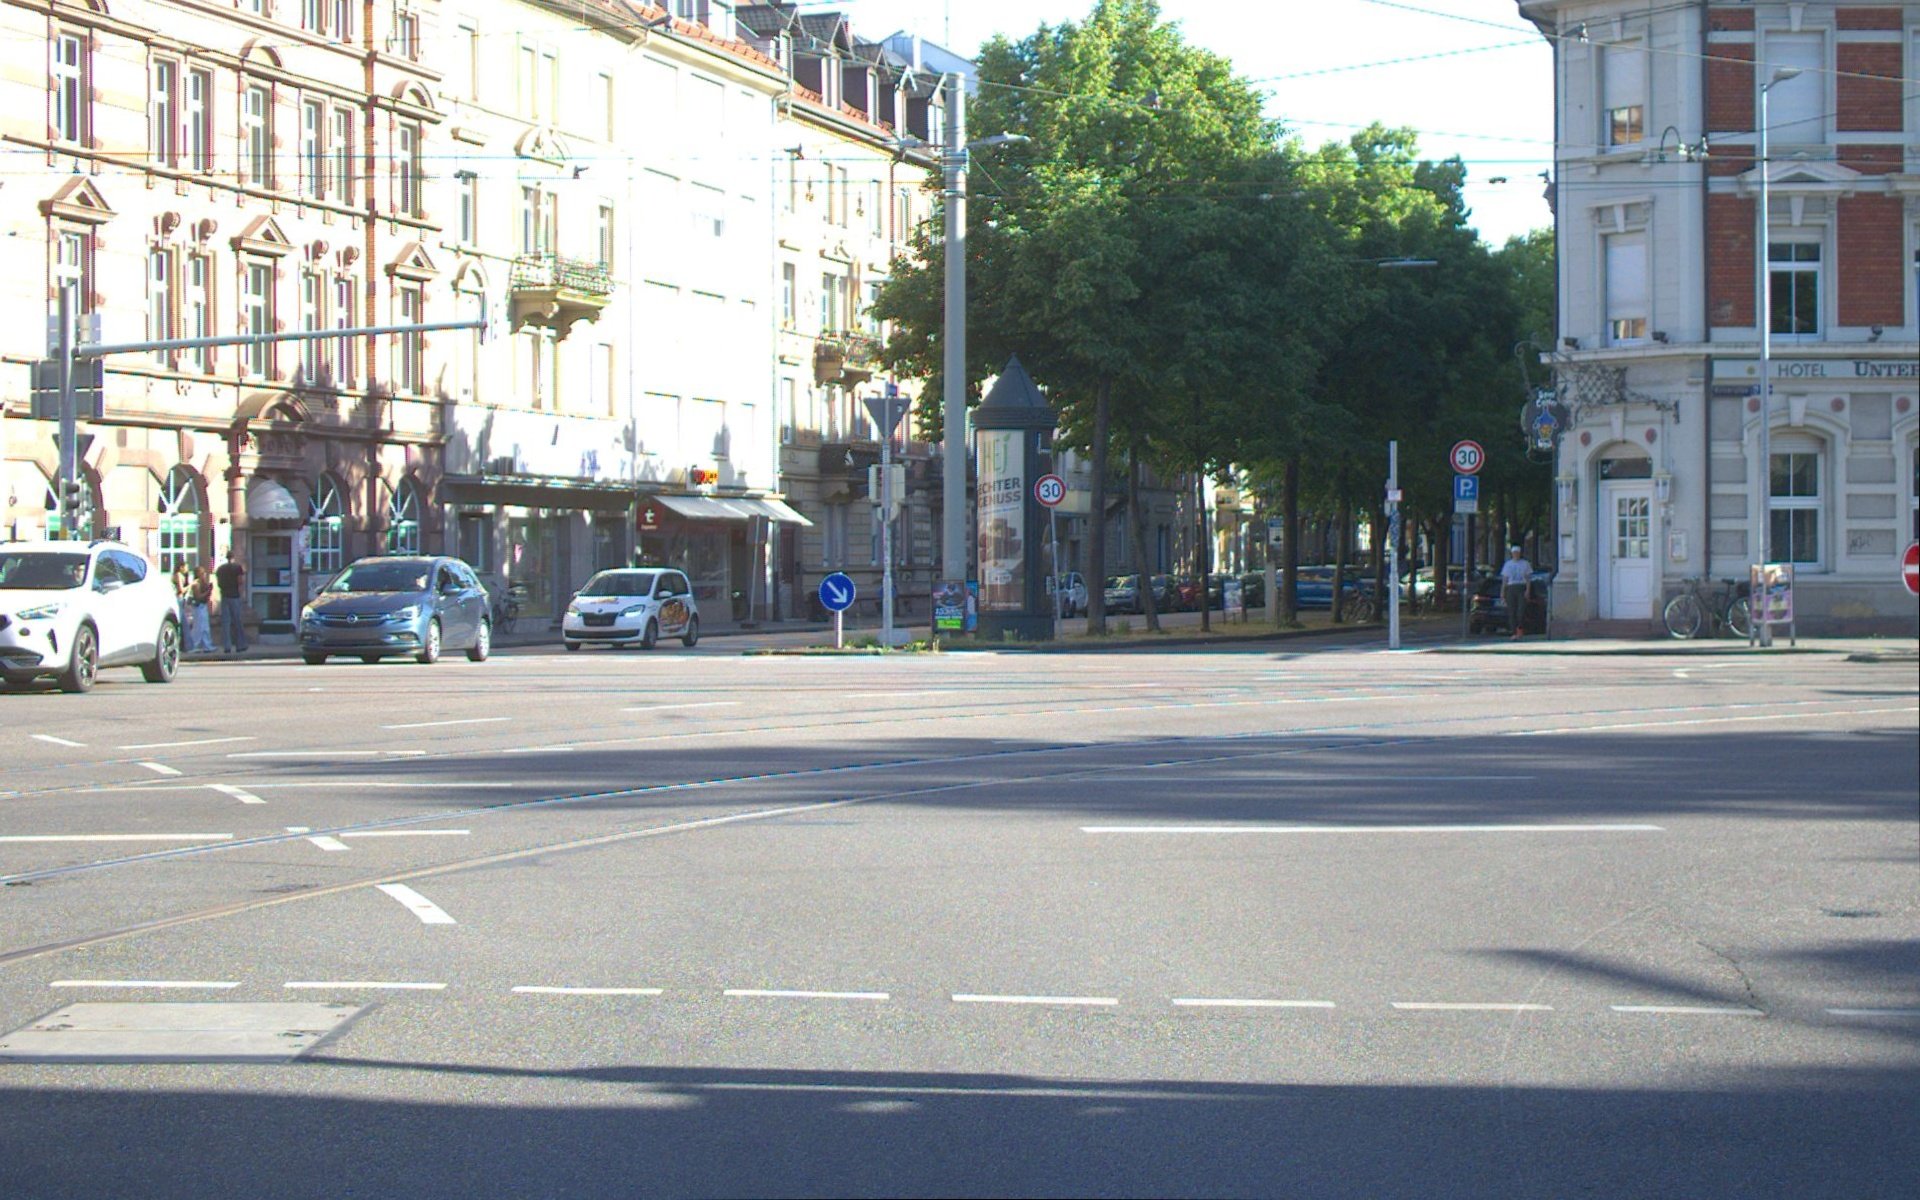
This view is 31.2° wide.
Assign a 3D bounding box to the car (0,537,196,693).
[{"bbox_3d":[-9.397,0.106,35.058,1.994,1.492,4.347,0,1,4],"label":"car"}]

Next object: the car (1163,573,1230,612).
[{"bbox_3d":[9.410,-0.322,136.548,1.995,1.492,4.031,0,1,14],"label":"car"}]

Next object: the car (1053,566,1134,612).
[{"bbox_3d":[4.583,-0.380,117.375,1.995,1.492,4.031,0,1,14],"label":"car"}]

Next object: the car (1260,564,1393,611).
[{"bbox_3d":[12.318,-0.429,115.680,3.993,1.540,1.997,0,1,28],"label":"car"}]

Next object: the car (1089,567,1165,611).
[{"bbox_3d":[5.975,-0.410,122.612,1.995,1.492,4.031,0,1,14],"label":"car"}]

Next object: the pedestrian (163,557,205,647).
[{"bbox_3d":[-14.101,0.034,62.471,0.551,1.636,0.537,0,1,15],"label":"pedestrian"}]

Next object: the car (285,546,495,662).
[{"bbox_3d":[-7.743,0.017,47.123,1.774,1.492,4.573,0,1,5],"label":"car"}]

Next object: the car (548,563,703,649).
[{"bbox_3d":[-6.102,0.090,63.027,1.719,1.492,3.581,0,1,14],"label":"car"}]

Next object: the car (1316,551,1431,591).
[{"bbox_3d":[16.149,-1.145,134.308,3.993,1.540,1.997,0,1,28],"label":"car"}]

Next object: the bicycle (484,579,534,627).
[{"bbox_3d":[-10.432,0.065,79.568,0.495,1.063,1.768,0,1,16],"label":"bicycle"}]

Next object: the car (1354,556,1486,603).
[{"bbox_3d":[15.587,-0.704,116.529,3.994,1.540,1.997,0,1,31],"label":"car"}]

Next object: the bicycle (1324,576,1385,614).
[{"bbox_3d":[11.376,-0.139,99.266,0.582,1.063,1.949,-1,1,-37],"label":"bicycle"}]

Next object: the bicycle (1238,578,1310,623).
[{"bbox_3d":[7.546,-0.002,82.773,0.582,1.063,1.949,-1,1,-37],"label":"bicycle"}]

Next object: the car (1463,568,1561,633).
[{"bbox_3d":[13.269,-0.010,82.431,1.995,1.492,4.031,0,1,14],"label":"car"}]

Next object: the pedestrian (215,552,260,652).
[{"bbox_3d":[-13.266,0.034,63.145,0.580,1.830,0.632,0,1,16],"label":"pedestrian"}]

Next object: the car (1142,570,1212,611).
[{"bbox_3d":[8.335,-0.364,131.800,1.995,1.492,4.031,0,1,14],"label":"car"}]

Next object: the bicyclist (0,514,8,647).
[{"bbox_3d":[-11.604,-0.229,40.517,0.714,1.554,0.987,0,1,-16],"label":"bicyclist"}]

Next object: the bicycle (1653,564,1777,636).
[{"bbox_3d":[12.555,-0.007,57.192,1.961,1.186,0.546,0,1,5],"label":"bicycle"}]

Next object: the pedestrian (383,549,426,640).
[{"bbox_3d":[-11.672,-0.125,72.212,0.682,1.902,0.632,0,1,16],"label":"pedestrian"}]

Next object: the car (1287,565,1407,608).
[{"bbox_3d":[14.441,-0.503,128.320,3.993,1.540,1.997,0,1,28],"label":"car"}]

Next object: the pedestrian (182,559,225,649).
[{"bbox_3d":[-13.903,0.075,63.163,0.551,1.636,0.632,0,1,12],"label":"pedestrian"}]

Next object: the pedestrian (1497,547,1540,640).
[{"bbox_3d":[10.084,-0.119,62.053,0.716,1.664,0.939,0,1,12],"label":"pedestrian"}]
